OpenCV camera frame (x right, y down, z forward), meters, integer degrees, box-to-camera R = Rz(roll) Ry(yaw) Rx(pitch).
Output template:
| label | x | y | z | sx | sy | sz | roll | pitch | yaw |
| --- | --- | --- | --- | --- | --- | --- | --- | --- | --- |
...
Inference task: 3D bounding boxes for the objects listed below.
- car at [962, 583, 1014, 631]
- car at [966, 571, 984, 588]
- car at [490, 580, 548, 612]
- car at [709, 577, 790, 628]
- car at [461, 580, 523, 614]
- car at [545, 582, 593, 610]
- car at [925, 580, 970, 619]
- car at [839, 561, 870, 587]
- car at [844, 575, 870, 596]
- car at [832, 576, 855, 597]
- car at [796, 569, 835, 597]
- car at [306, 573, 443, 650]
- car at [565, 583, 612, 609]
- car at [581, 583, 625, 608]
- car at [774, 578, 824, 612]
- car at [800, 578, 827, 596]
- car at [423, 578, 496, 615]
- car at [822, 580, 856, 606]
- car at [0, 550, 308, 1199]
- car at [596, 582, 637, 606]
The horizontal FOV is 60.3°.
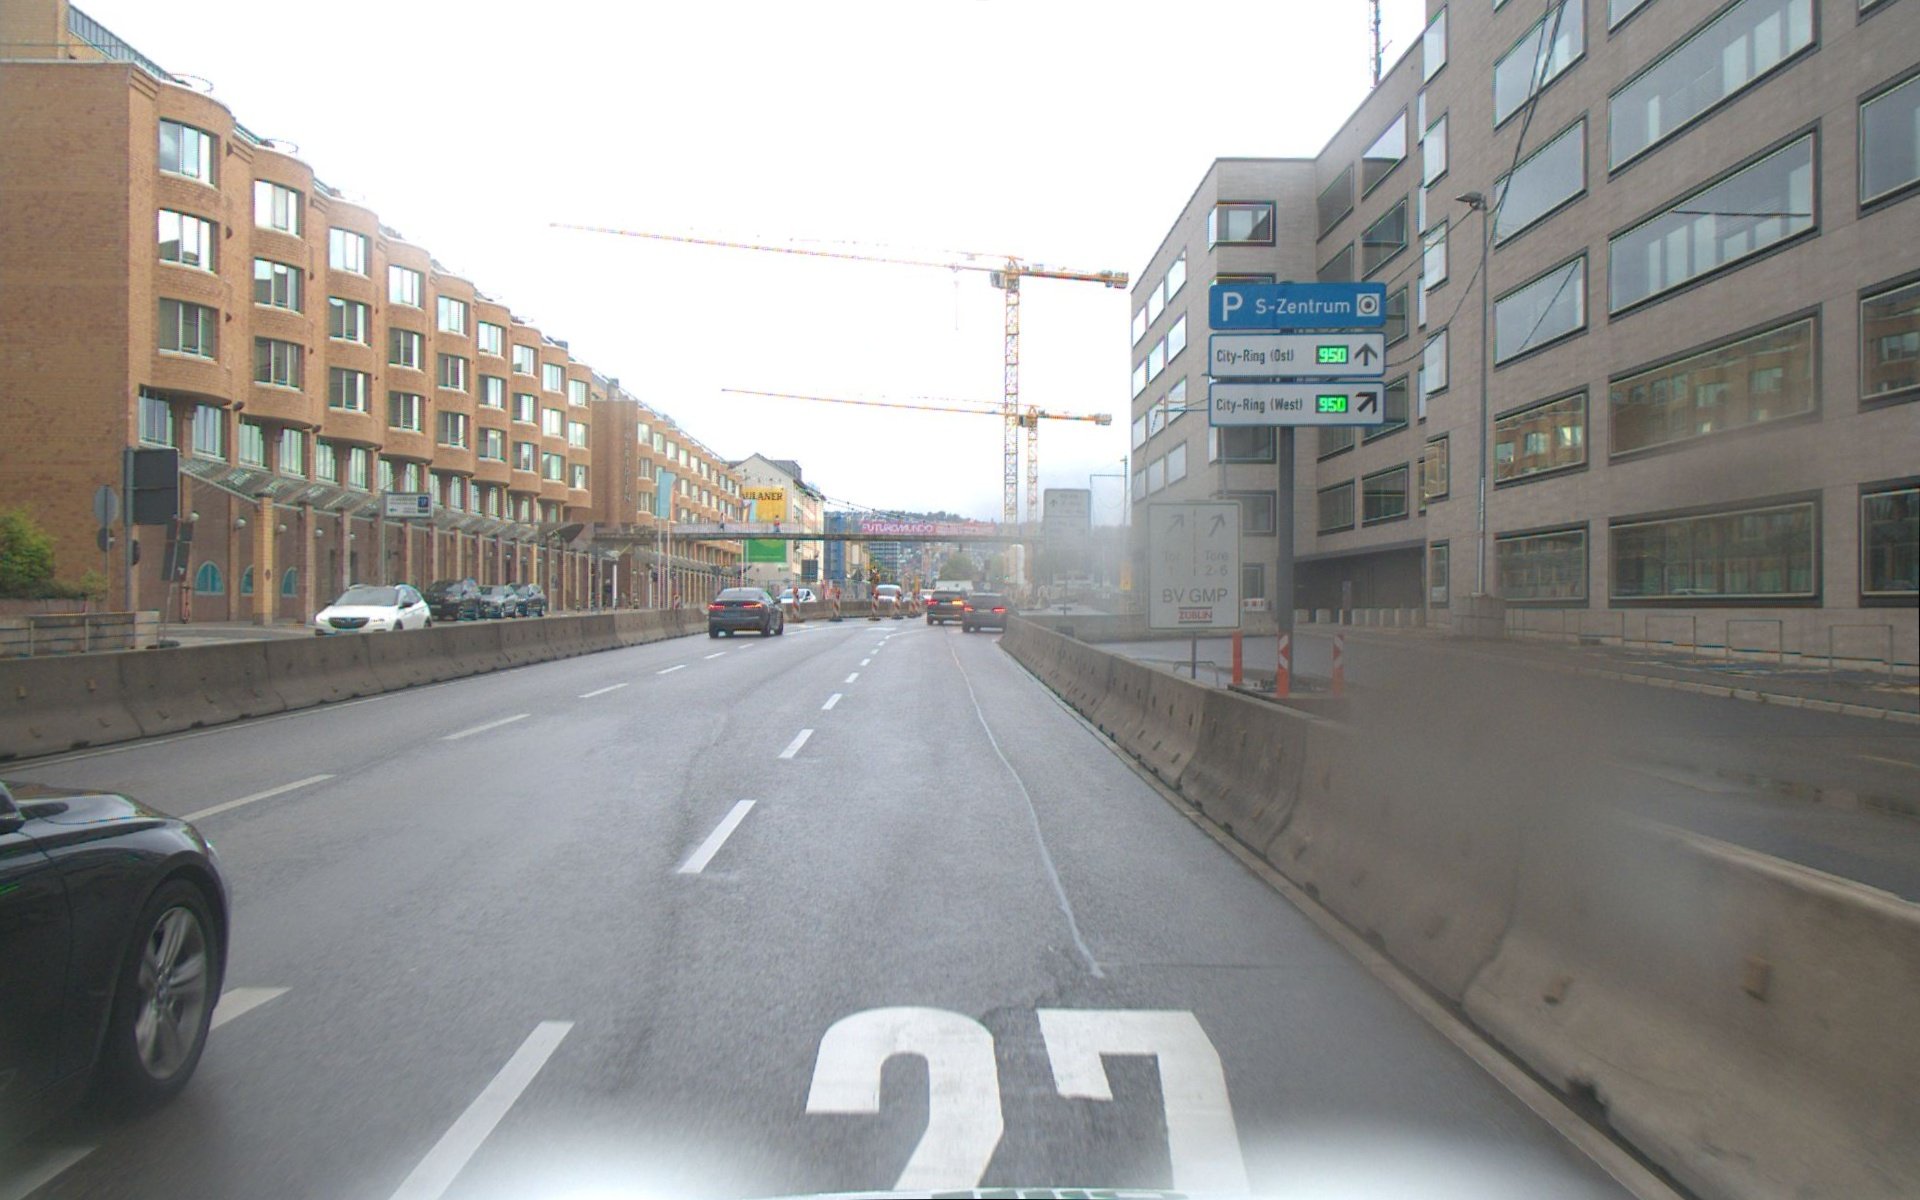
| label | x | y | z | sx | sy | sz | roll | pitch | yaw |
| --- | --- | --- | --- | --- | --- | --- | --- | --- | --- |
| car | 1.051 | 0.261 | 62.327 | 1.861 | 1.723 | 4.000 | -1 | 0 | 1 |
| car | 1.650 | -2.258 | 182.594 | 1.860 | 1.723 | 4.001 | -1 | 0 | 2 |
| car | -23.587 | -0.198 | 88.558 | 1.953 | 1.648 | 4.317 | -1 | 0 | -1 |
| car | -6.289 | 0.058 | 49.751 | 1.753 | 1.451 | 4.385 | -1 | 0 | 1 |
| car | -23.630 | -0.178 | 83.686 | 1.953 | 1.648 | 4.317 | -1 | 0 | -1 |
| car | -23.732 | -0.244 | 100.513 | 1.953 | 1.648 | 4.317 | -1 | 0 | -1 |
| car | -0.545 | -0.024 | 75.188 | 1.860 | 1.723 | 4.001 | -1 | 0 | 2 |
| car | -7.801 | -1.928 | 122.652 | 1.953 | 1.858 | 4.762 | -1 | 0 | -1 |
| car | -8.435 | -1.197 | 135.878 | 1.953 | 1.648 | 4.761 | -1 | 0 | -2 |
| car | -11.670 | -1.308 | 165.941 | 1.952 | 2.049 | 4.000 | -1 | 0 | 0 |
| car | -8.783 | -1.027 | 100.861 | 1.953 | 1.648 | 4.762 | -1 | 0 | -1 |
| car | -13.885 | 0.233 | 39.501 | 1.783 | 1.647 | 4.191 | -1 | 2 | -1 |
| car | -23.733 | -0.265 | 105.783 | 1.953 | 1.648 | 4.689 | -1 | 0 | -1 |
| car | -24.102 | -0.328 | 111.767 | 1.953 | 1.648 | 4.689 | -1 | 0 | -1 |
| car | -8.217 | -0.263 | 84.918 | 1.952 | 1.648 | 4.764 | -1 | 0 | 2 |
| car | -13.183 | -1.161 | 149.051 | 1.952 | 1.648 | 4.764 | -1 | 0 | 1 |
| car | -23.068 | -0.156 | 76.399 | 1.953 | 1.648 | 4.762 | -1 | 0 | -1 |
| car | -8.122 | -0.479 | 111.367 | 1.953 | 1.648 | 4.762 | -1 | 0 | -1 |
| car | -2.931 | 0.611 | 3.003 | 1.755 | 1.451 | 4.612 | 1 | 0 | -2 |
| car | -24.437 | -0.409 | 117.873 | 1.953 | 1.648 | 4.689 | -1 | 0 | -1 |
